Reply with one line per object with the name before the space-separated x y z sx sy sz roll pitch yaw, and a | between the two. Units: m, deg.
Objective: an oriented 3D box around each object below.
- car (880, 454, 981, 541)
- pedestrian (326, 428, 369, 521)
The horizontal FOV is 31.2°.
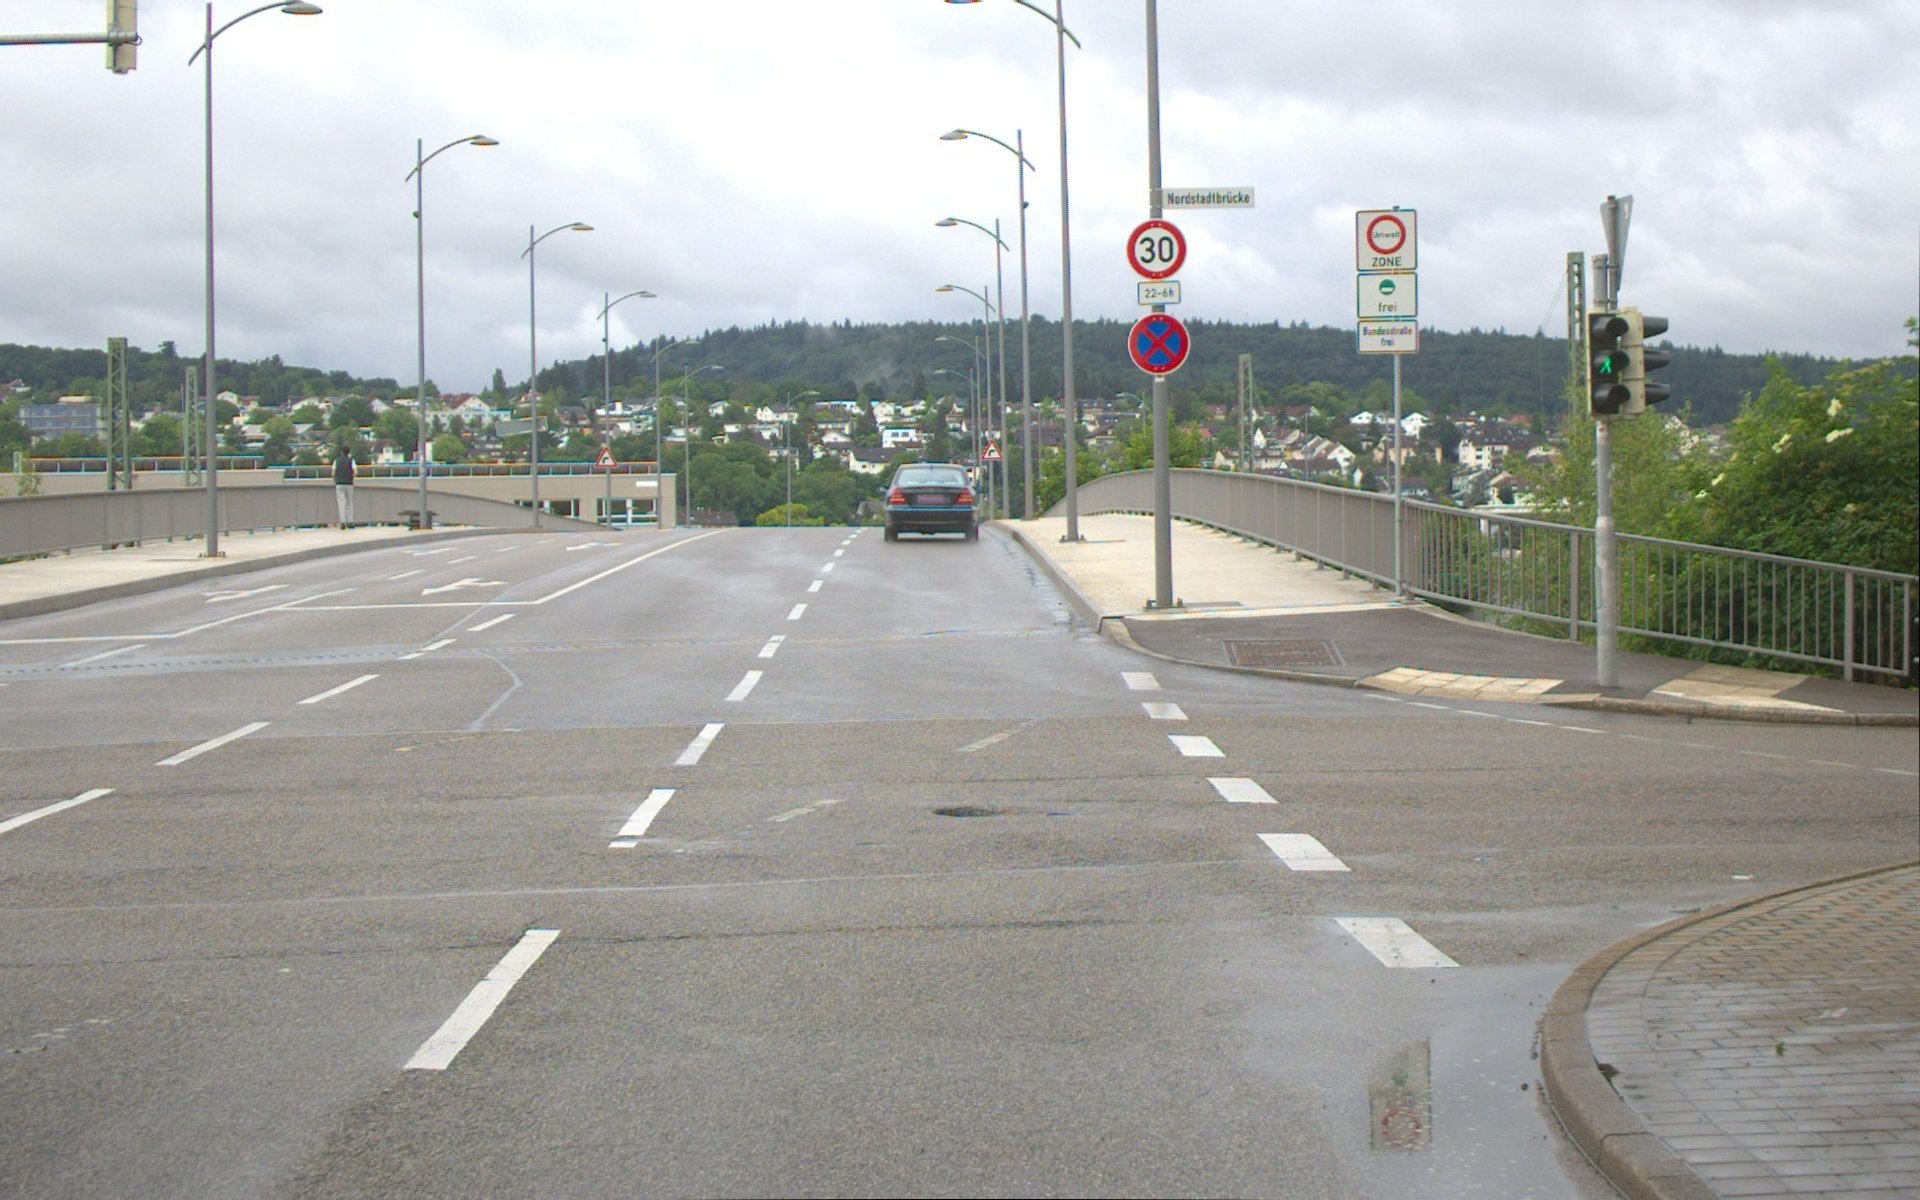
car | -0.529 -1.836 62.377 1.754 1.474 4.000 -1 1 0
pedestrian | -13.684 -2.790 76.785 0.756 2.041 0.892 -1 0 -1
